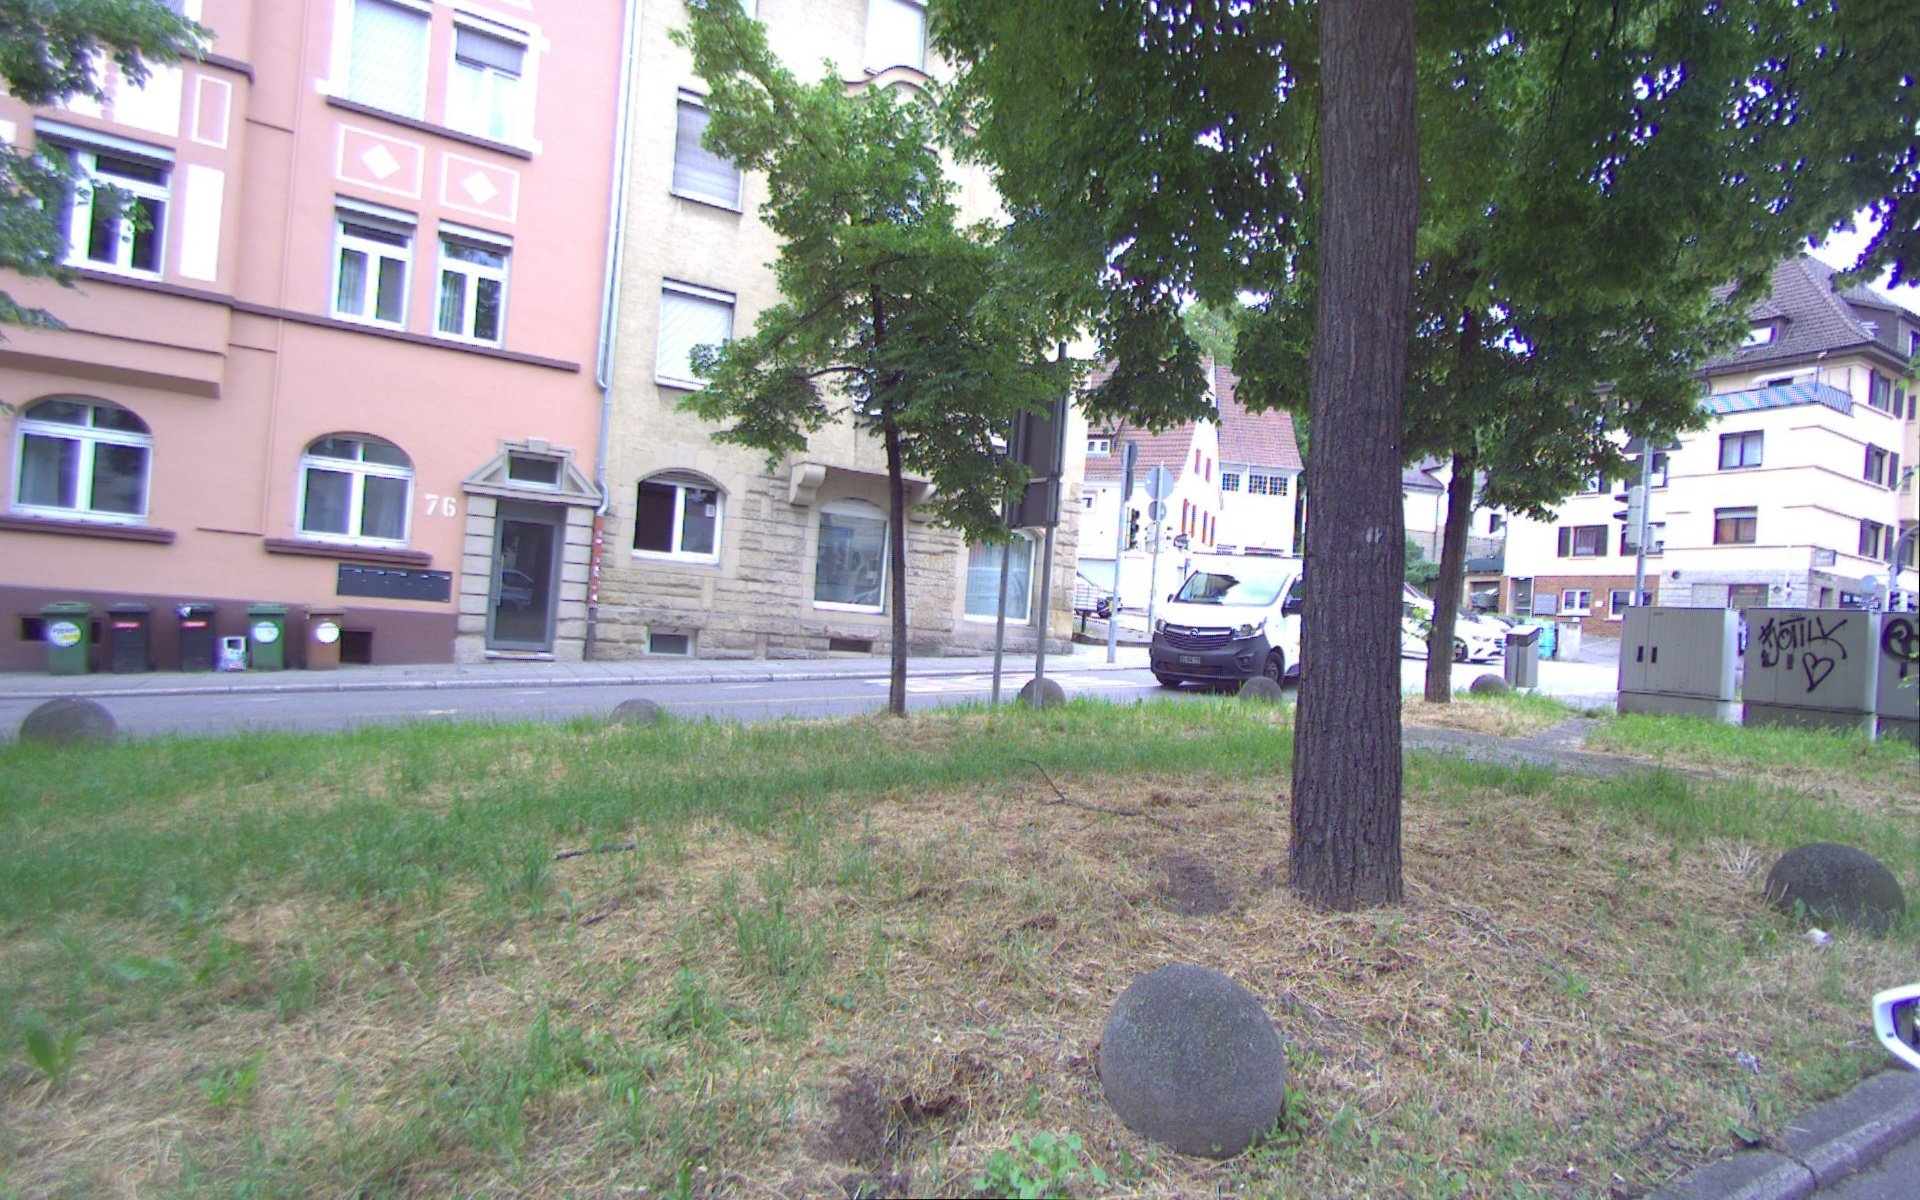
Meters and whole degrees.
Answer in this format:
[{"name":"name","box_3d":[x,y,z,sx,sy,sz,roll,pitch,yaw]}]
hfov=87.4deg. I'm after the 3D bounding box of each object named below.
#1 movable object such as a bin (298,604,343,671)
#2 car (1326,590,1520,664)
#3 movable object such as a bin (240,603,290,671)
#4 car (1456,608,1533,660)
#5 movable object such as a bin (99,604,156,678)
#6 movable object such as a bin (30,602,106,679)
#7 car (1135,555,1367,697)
[{"name":"movable object such as a bin","box_3d":[-9.278,0.533,14.569,0.510,0.934,0.752,2,0,-34]},{"name":"car","box_3d":[11.932,0.659,26.095,1.678,1.615,4.212,2,1,-41]},{"name":"movable object such as a bin","box_3d":[-9.831,0.515,14.227,0.554,0.934,0.649,2,0,-34]},{"name":"car","box_3d":[21.789,1.333,41.079,1.832,1.619,3.519,2,6,13]},{"name":"movable object such as a bin","box_3d":[-11.160,0.540,13.477,0.528,0.958,0.576,2,0,-36]},{"name":"movable object such as a bin","box_3d":[-11.656,0.523,13.144,0.611,0.961,0.613,2,0,-31]},{"name":"car","box_3d":[5.003,0.358,16.679,1.968,1.971,5.287,2,1,36]}]
